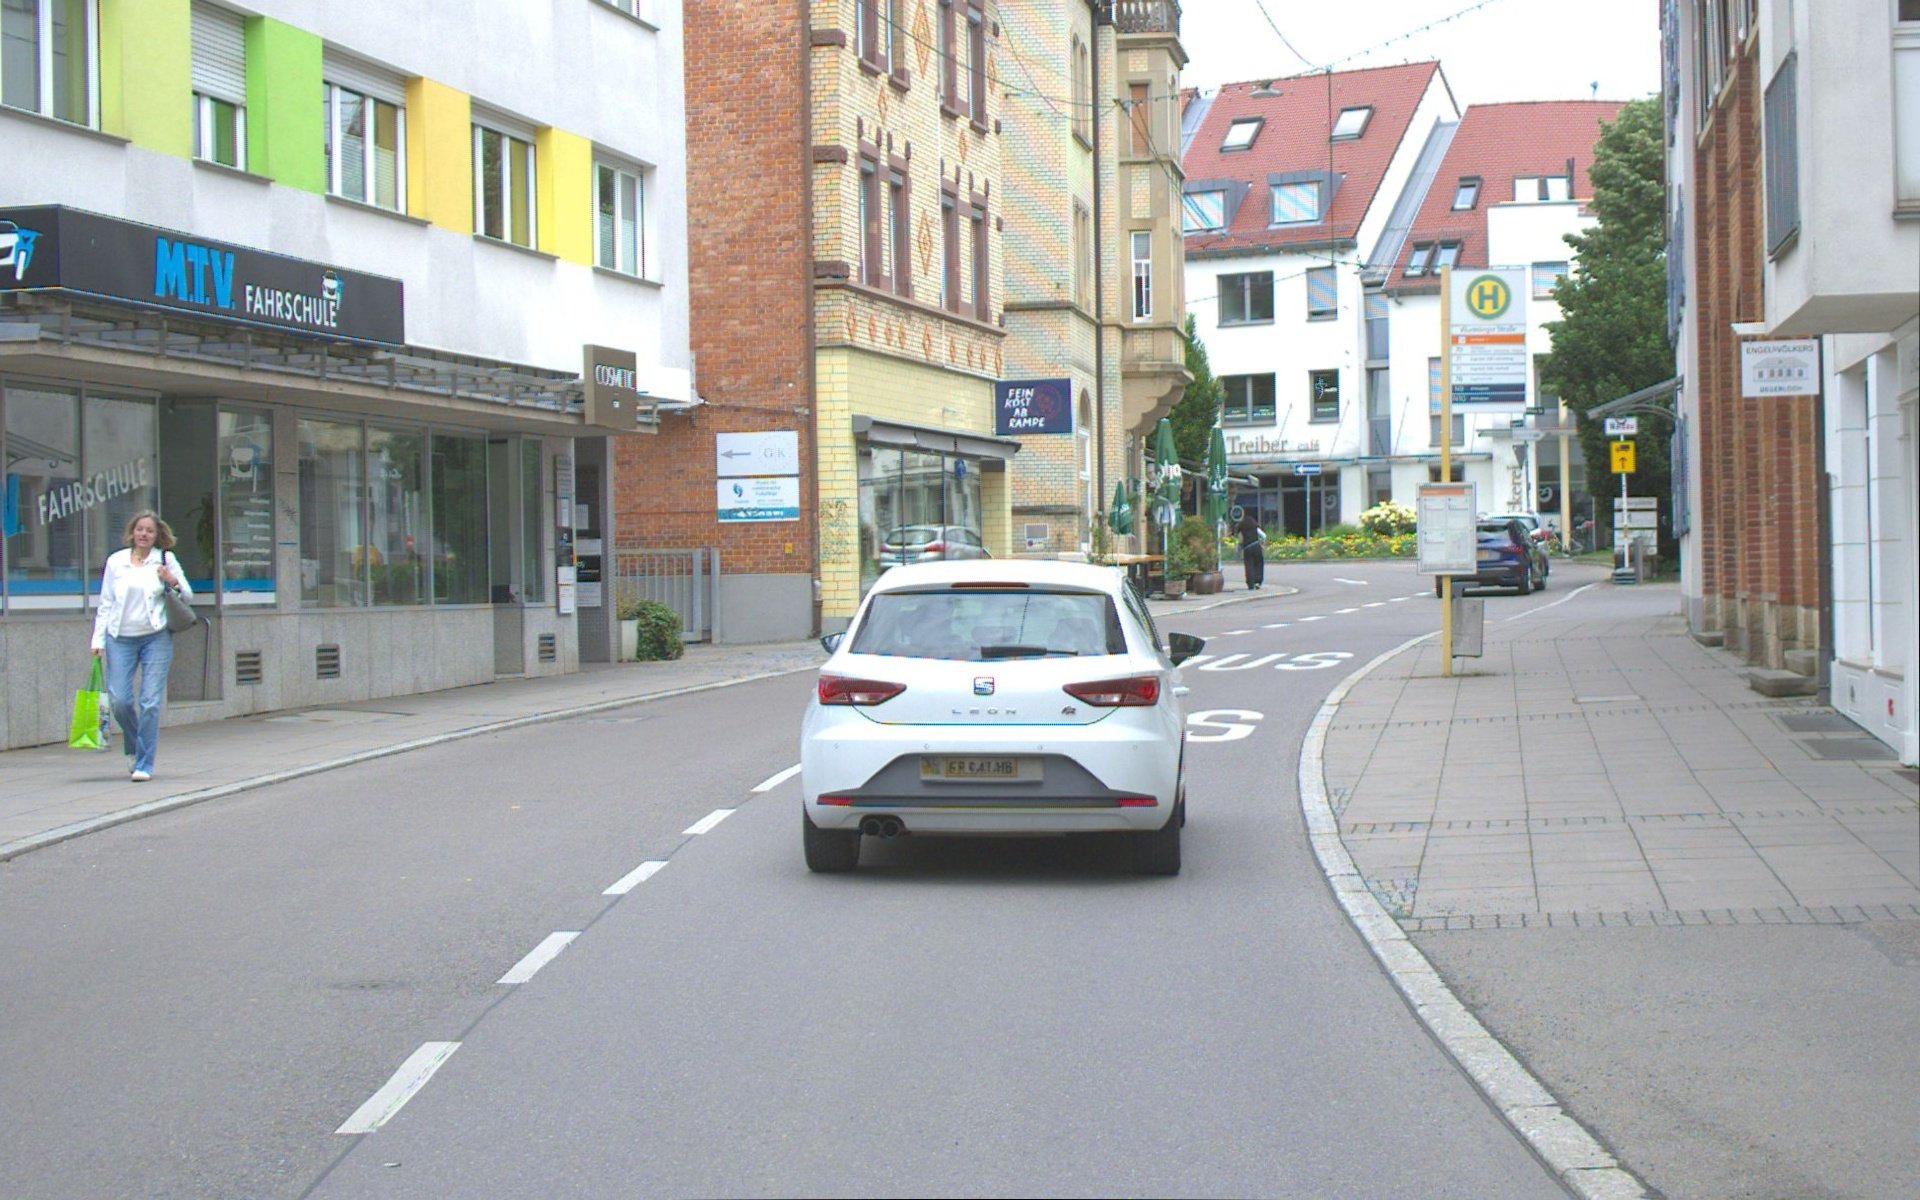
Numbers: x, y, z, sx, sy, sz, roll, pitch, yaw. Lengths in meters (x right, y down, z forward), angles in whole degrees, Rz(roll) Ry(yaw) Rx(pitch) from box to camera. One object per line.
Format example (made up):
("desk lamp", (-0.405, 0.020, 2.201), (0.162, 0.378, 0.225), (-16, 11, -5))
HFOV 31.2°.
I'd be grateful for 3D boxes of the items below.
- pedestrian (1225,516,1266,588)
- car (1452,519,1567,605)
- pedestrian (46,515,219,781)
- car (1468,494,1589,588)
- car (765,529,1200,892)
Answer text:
("pedestrian", (6.239, -1.056, 75.125), (0.834, 1.546, 0.627), (-1, 1, 6))
("car", (10.348, -0.733, 64.575), (1.812, 1.475, 3.868), (-1, 2, 14))
("pedestrian", (-5.319, 0.294, 22.155), (0.892, 1.659, 0.861), (-1, 1, -2))
("car", (12.766, -1.343, 77.047), (1.995, 2.007, 3.996), (-1, 1, 19))
("car", (0.229, 0.448, 16.873), (1.812, 1.475, 3.870), (-1, 2, 5))
